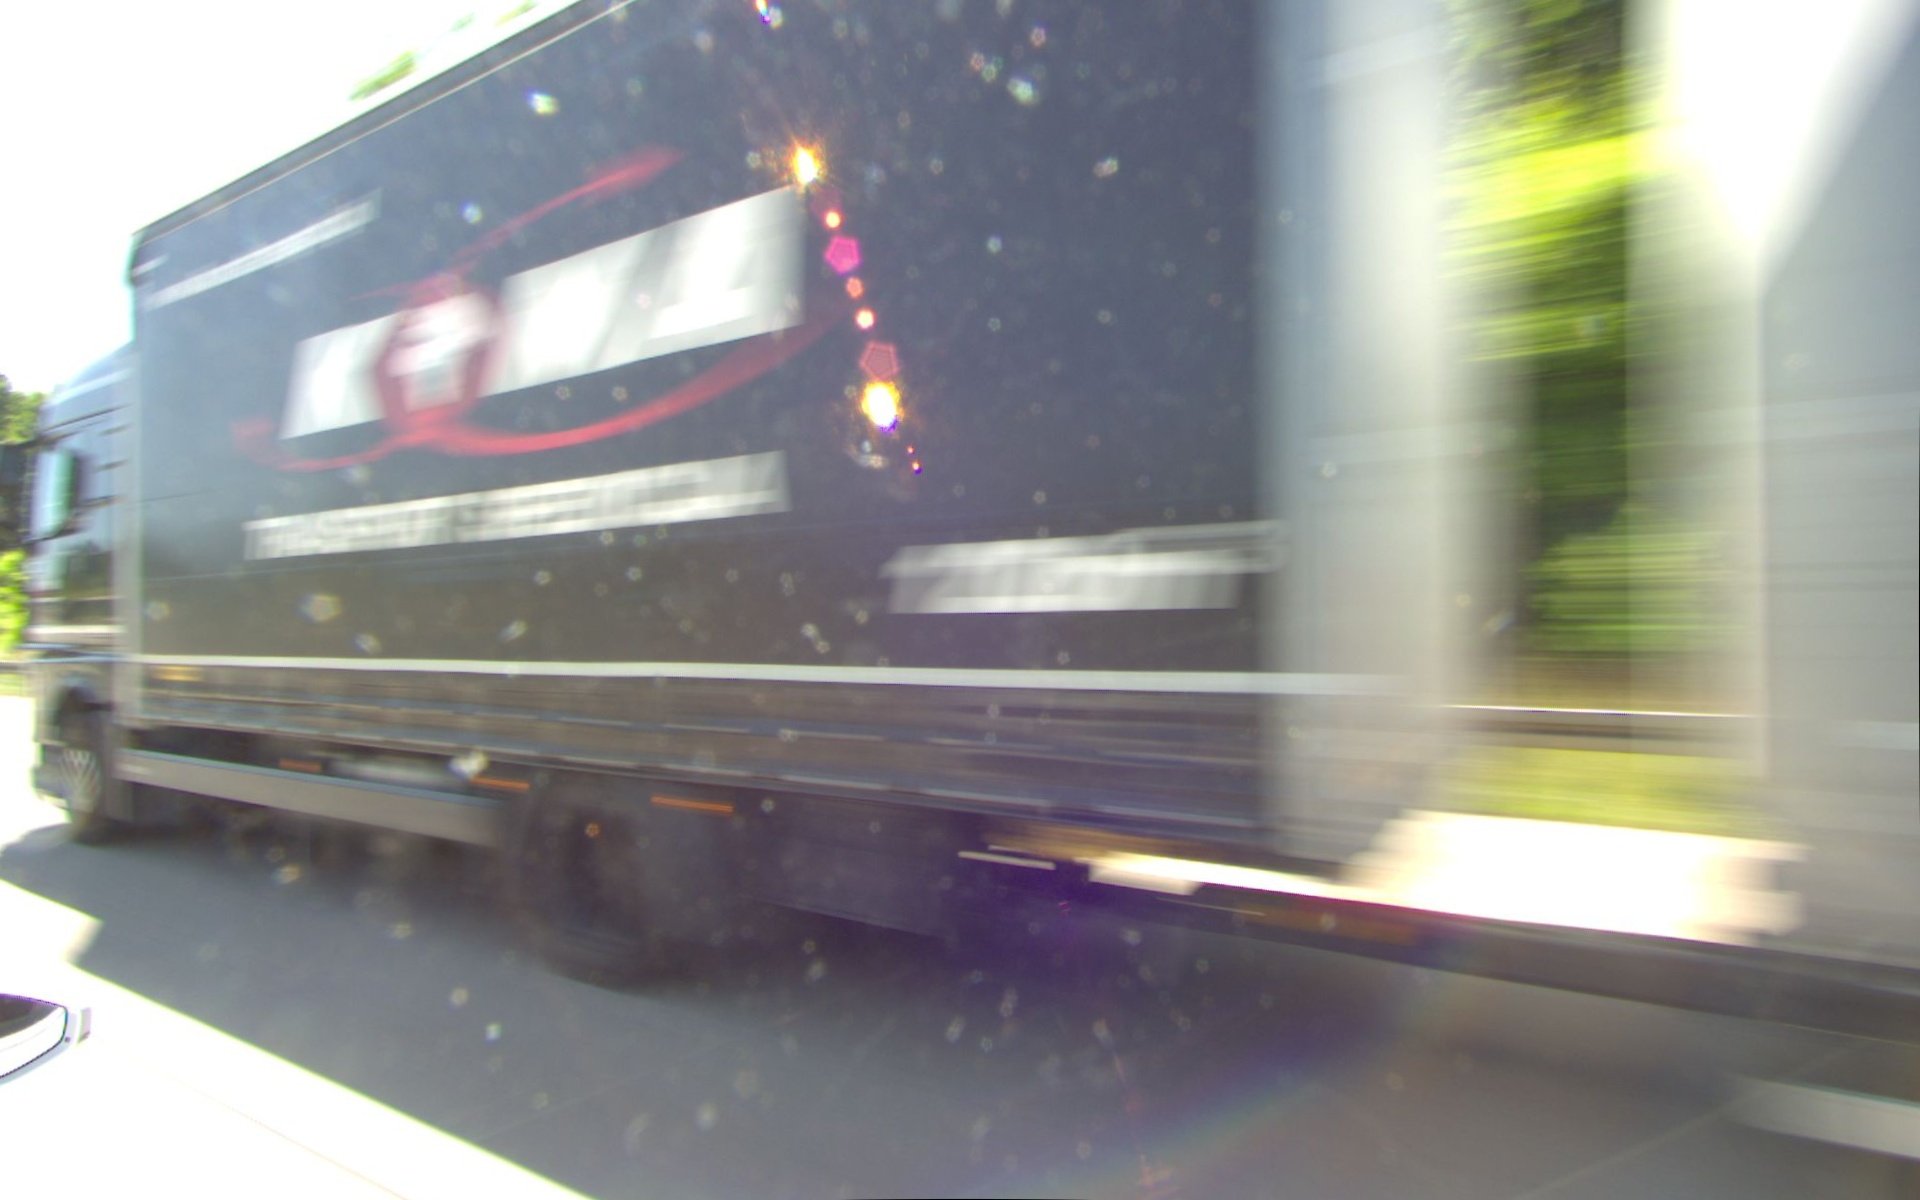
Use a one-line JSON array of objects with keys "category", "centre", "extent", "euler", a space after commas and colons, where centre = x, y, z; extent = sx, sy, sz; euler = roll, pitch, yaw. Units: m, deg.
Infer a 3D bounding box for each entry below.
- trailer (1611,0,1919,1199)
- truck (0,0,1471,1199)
[{"category": "trailer", "centre": [5.963, -0.657, 0.852], "extent": [8.959, 4.068, 3.129], "euler": [-1, -1, 32]}, {"category": "truck", "centre": [-2.735, -0.479, 6.391], "extent": [10.456, 4.068, 3.154], "euler": [-1, -1, 32]}]
